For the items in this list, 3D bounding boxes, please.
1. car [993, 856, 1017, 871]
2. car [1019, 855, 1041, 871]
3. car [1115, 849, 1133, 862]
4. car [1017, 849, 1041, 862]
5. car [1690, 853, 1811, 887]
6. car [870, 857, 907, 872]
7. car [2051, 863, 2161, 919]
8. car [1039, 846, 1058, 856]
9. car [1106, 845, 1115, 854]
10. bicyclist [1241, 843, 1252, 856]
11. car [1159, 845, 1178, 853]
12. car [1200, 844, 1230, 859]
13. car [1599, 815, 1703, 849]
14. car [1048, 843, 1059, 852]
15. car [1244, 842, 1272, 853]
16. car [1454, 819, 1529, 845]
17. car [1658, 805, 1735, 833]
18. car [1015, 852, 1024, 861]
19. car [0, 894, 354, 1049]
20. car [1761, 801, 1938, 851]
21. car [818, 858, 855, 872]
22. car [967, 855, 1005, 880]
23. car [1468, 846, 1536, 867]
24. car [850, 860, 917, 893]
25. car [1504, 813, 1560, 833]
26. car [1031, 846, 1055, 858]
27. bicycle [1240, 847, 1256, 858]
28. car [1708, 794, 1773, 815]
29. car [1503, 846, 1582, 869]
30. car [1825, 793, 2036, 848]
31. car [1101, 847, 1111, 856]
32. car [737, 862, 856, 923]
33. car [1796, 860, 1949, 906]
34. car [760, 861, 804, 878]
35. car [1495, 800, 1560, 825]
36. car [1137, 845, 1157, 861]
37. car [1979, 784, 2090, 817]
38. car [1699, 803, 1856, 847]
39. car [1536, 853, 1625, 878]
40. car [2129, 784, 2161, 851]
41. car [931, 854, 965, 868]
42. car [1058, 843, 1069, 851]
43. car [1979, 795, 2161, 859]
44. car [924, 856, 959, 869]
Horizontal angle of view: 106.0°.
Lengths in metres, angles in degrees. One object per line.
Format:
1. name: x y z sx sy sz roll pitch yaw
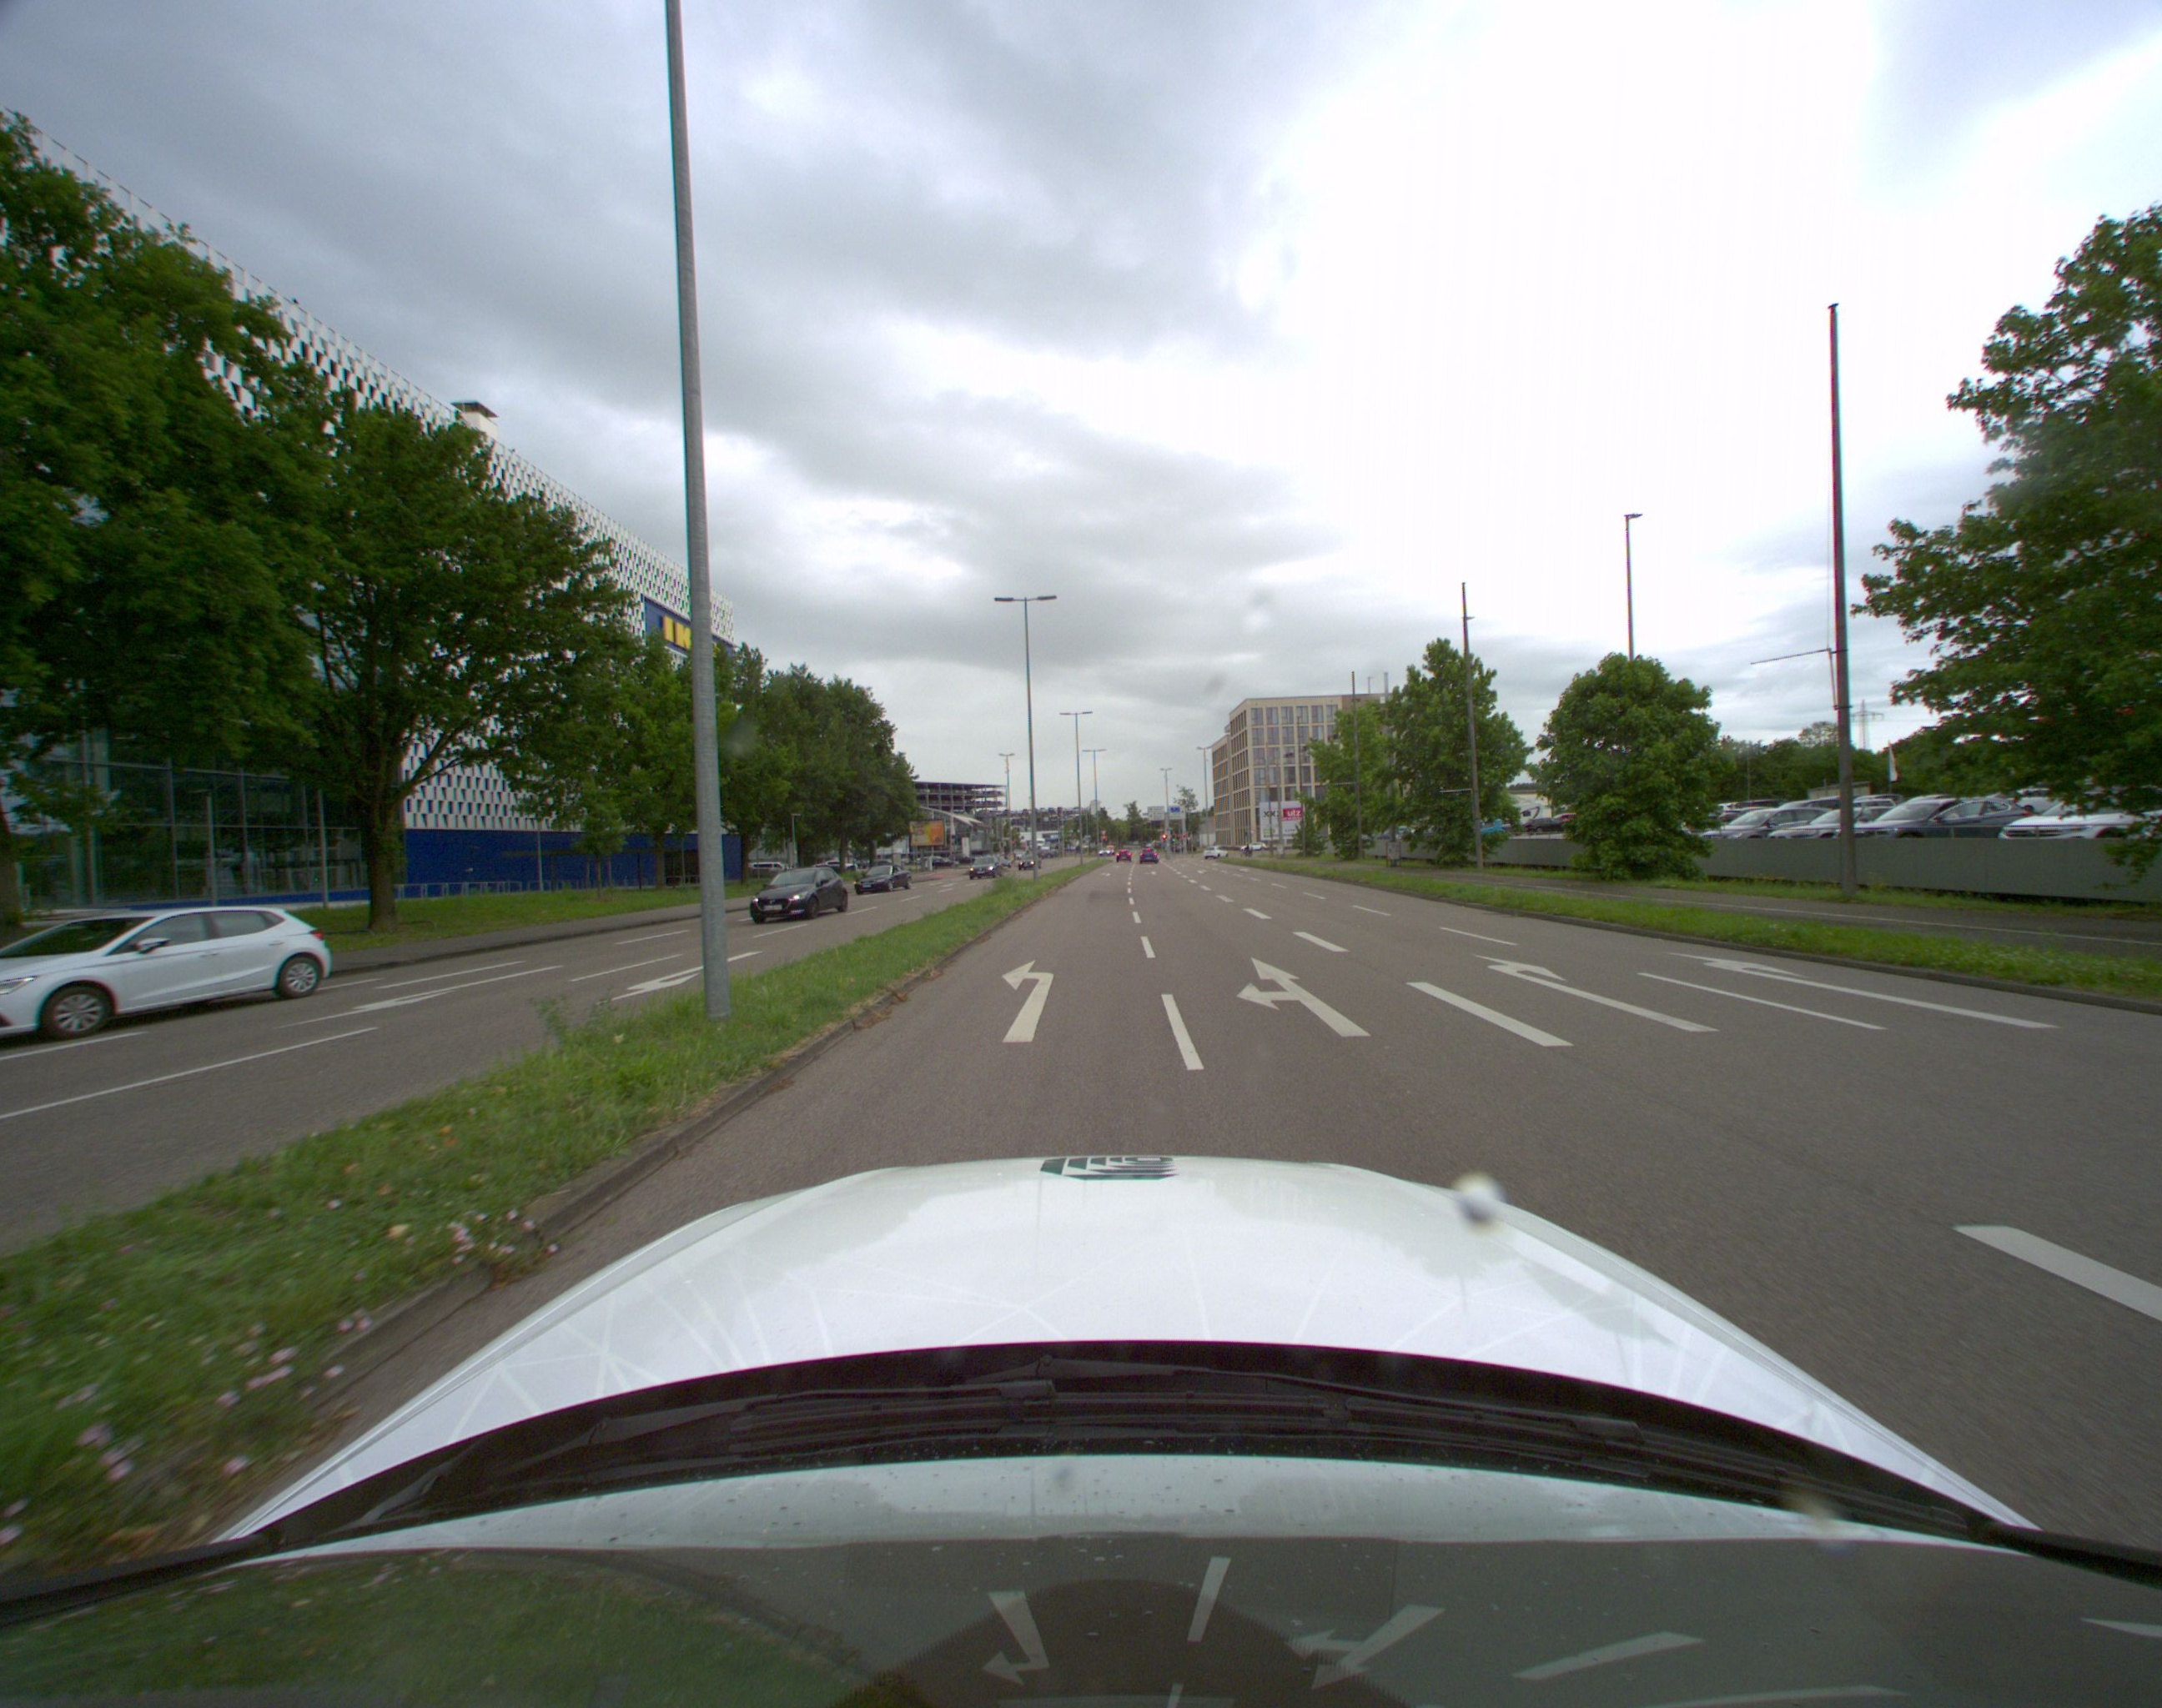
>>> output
1. car: -8.763 1.119 94.041 1.782 1.479 4.538 -4 0 5
2. car: -4.976 0.880 79.188 1.926 1.455 4.179 -2 0 -2
3. car: 4.993 0.170 95.849 1.980 1.428 4.242 -2 -1 1
4. car: -8.019 0.262 126.152 3.667 1.771 1.744 -2 2 -3
5. car: 30.229 0.709 36.843 4.040 1.350 1.764 -2 0 0
6. car: -25.947 1.398 109.970 4.534 1.659 1.998 -3 1 -4
7. car: 29.627 0.962 22.247 4.038 1.350 1.765 -2 0 2
8. car: -6.020 -0.477 151.266 3.595 1.667 1.548 -2 2 -2
9. car: 5.517 -0.830 152.014 1.593 1.453 3.328 -2 2 4
10. bicyclist: 19.647 -0.583 96.658 0.705 1.504 0.990 -2 1 -33
11. car: 18.355 -1.019 170.556 3.571 1.478 1.770 -1 2 23
12. car: 16.114 -0.317 97.686 1.974 1.752 4.207 -2 0 32
13. car: 25.057 -0.975 35.848 3.506 1.307 1.605 -2 2 -3
14. car: -6.166 -1.507 184.614 1.766 1.705 3.926 -2 2 8
15. car: 28.003 -1.072 128.910 3.943 1.567 1.754 -3 2 -11
16. car: 27.071 -1.484 53.790 4.056 1.524 1.811 -2 2 -2
17. car: 39.752 -2.259 52.624 3.613 1.632 1.704 -2 2 6
18. car: -10.245 0.422 135.759 1.370 1.326 3.027 -2 2 -7
19. car: -12.368 1.412 10.642 1.859 1.454 4.169 -4 0 1
20. car: 24.622 -0.904 26.194 4.039 1.399 1.764 -2 2 1
21. car: -33.929 1.534 113.185 4.422 1.711 1.999 -2 4 -3
22. car: -6.347 0.891 54.966 1.773 1.455 4.185 -4 0 2
23. car: 30.875 0.168 59.762 4.037 1.350 1.765 -2 0 3
24. car: -10.074 1.111 41.839 1.762 1.452 4.415 -4 0 8
25. car: 38.968 -2.699 70.421 3.824 1.507 1.787 -3 1 5
26. car: -6.596 -0.350 140.475 3.976 1.790 1.846 -2 2 -2
27. bicycle: 19.801 -0.184 96.486 0.705 1.295 1.990 -2 1 -33
28. car: 50.828 -3.808 62.811 3.613 1.495 1.704 -2 2 6
29. car: 25.500 0.196 45.088 3.500 1.131 1.517 -2 0 2
30. car: 24.138 -0.962 23.239 4.137 1.350 1.810 -2 2 1
31. car: 4.439 -0.467 143.908 1.593 1.453 3.328 -2 2 4
32. car: -8.207 1.064 23.902 1.750 1.453 4.005 -4 0 4
33. car: 29.897 1.084 30.855 4.039 1.551 1.764 -2 0 1
34. car: -40.354 2.055 109.874 5.117 1.963 1.880 -2 4 -1
35. car: 42.908 -3.972 78.391 4.986 2.210 2.169 -2 2 6
36. car: 6.728 -0.090 83.246 1.827 1.514 4.003 -2 0 3
37. car: 50.019 -2.776 42.789 3.613 1.555 1.704 -2 2 6
38. car: 24.470 -1.021 28.713 4.039 1.350 1.764 -2 2 1
39. car: 24.825 0.558 40.554 3.500 1.131 1.456 -2 0 2
40. car: 23.937 -0.795 16.105 4.039 1.350 1.836 -2 2 1
41. car: -19.073 1.013 116.888 4.386 1.643 2.001 -2 2 2
42. car: -3.986 -1.591 184.551 1.766 1.705 3.926 -2 2 8
43. car: 24.170 -0.665 19.206 4.039 1.350 1.764 -2 2 1
44. car: -18.889 1.175 110.336 4.407 1.660 1.997 -2 0 -4
